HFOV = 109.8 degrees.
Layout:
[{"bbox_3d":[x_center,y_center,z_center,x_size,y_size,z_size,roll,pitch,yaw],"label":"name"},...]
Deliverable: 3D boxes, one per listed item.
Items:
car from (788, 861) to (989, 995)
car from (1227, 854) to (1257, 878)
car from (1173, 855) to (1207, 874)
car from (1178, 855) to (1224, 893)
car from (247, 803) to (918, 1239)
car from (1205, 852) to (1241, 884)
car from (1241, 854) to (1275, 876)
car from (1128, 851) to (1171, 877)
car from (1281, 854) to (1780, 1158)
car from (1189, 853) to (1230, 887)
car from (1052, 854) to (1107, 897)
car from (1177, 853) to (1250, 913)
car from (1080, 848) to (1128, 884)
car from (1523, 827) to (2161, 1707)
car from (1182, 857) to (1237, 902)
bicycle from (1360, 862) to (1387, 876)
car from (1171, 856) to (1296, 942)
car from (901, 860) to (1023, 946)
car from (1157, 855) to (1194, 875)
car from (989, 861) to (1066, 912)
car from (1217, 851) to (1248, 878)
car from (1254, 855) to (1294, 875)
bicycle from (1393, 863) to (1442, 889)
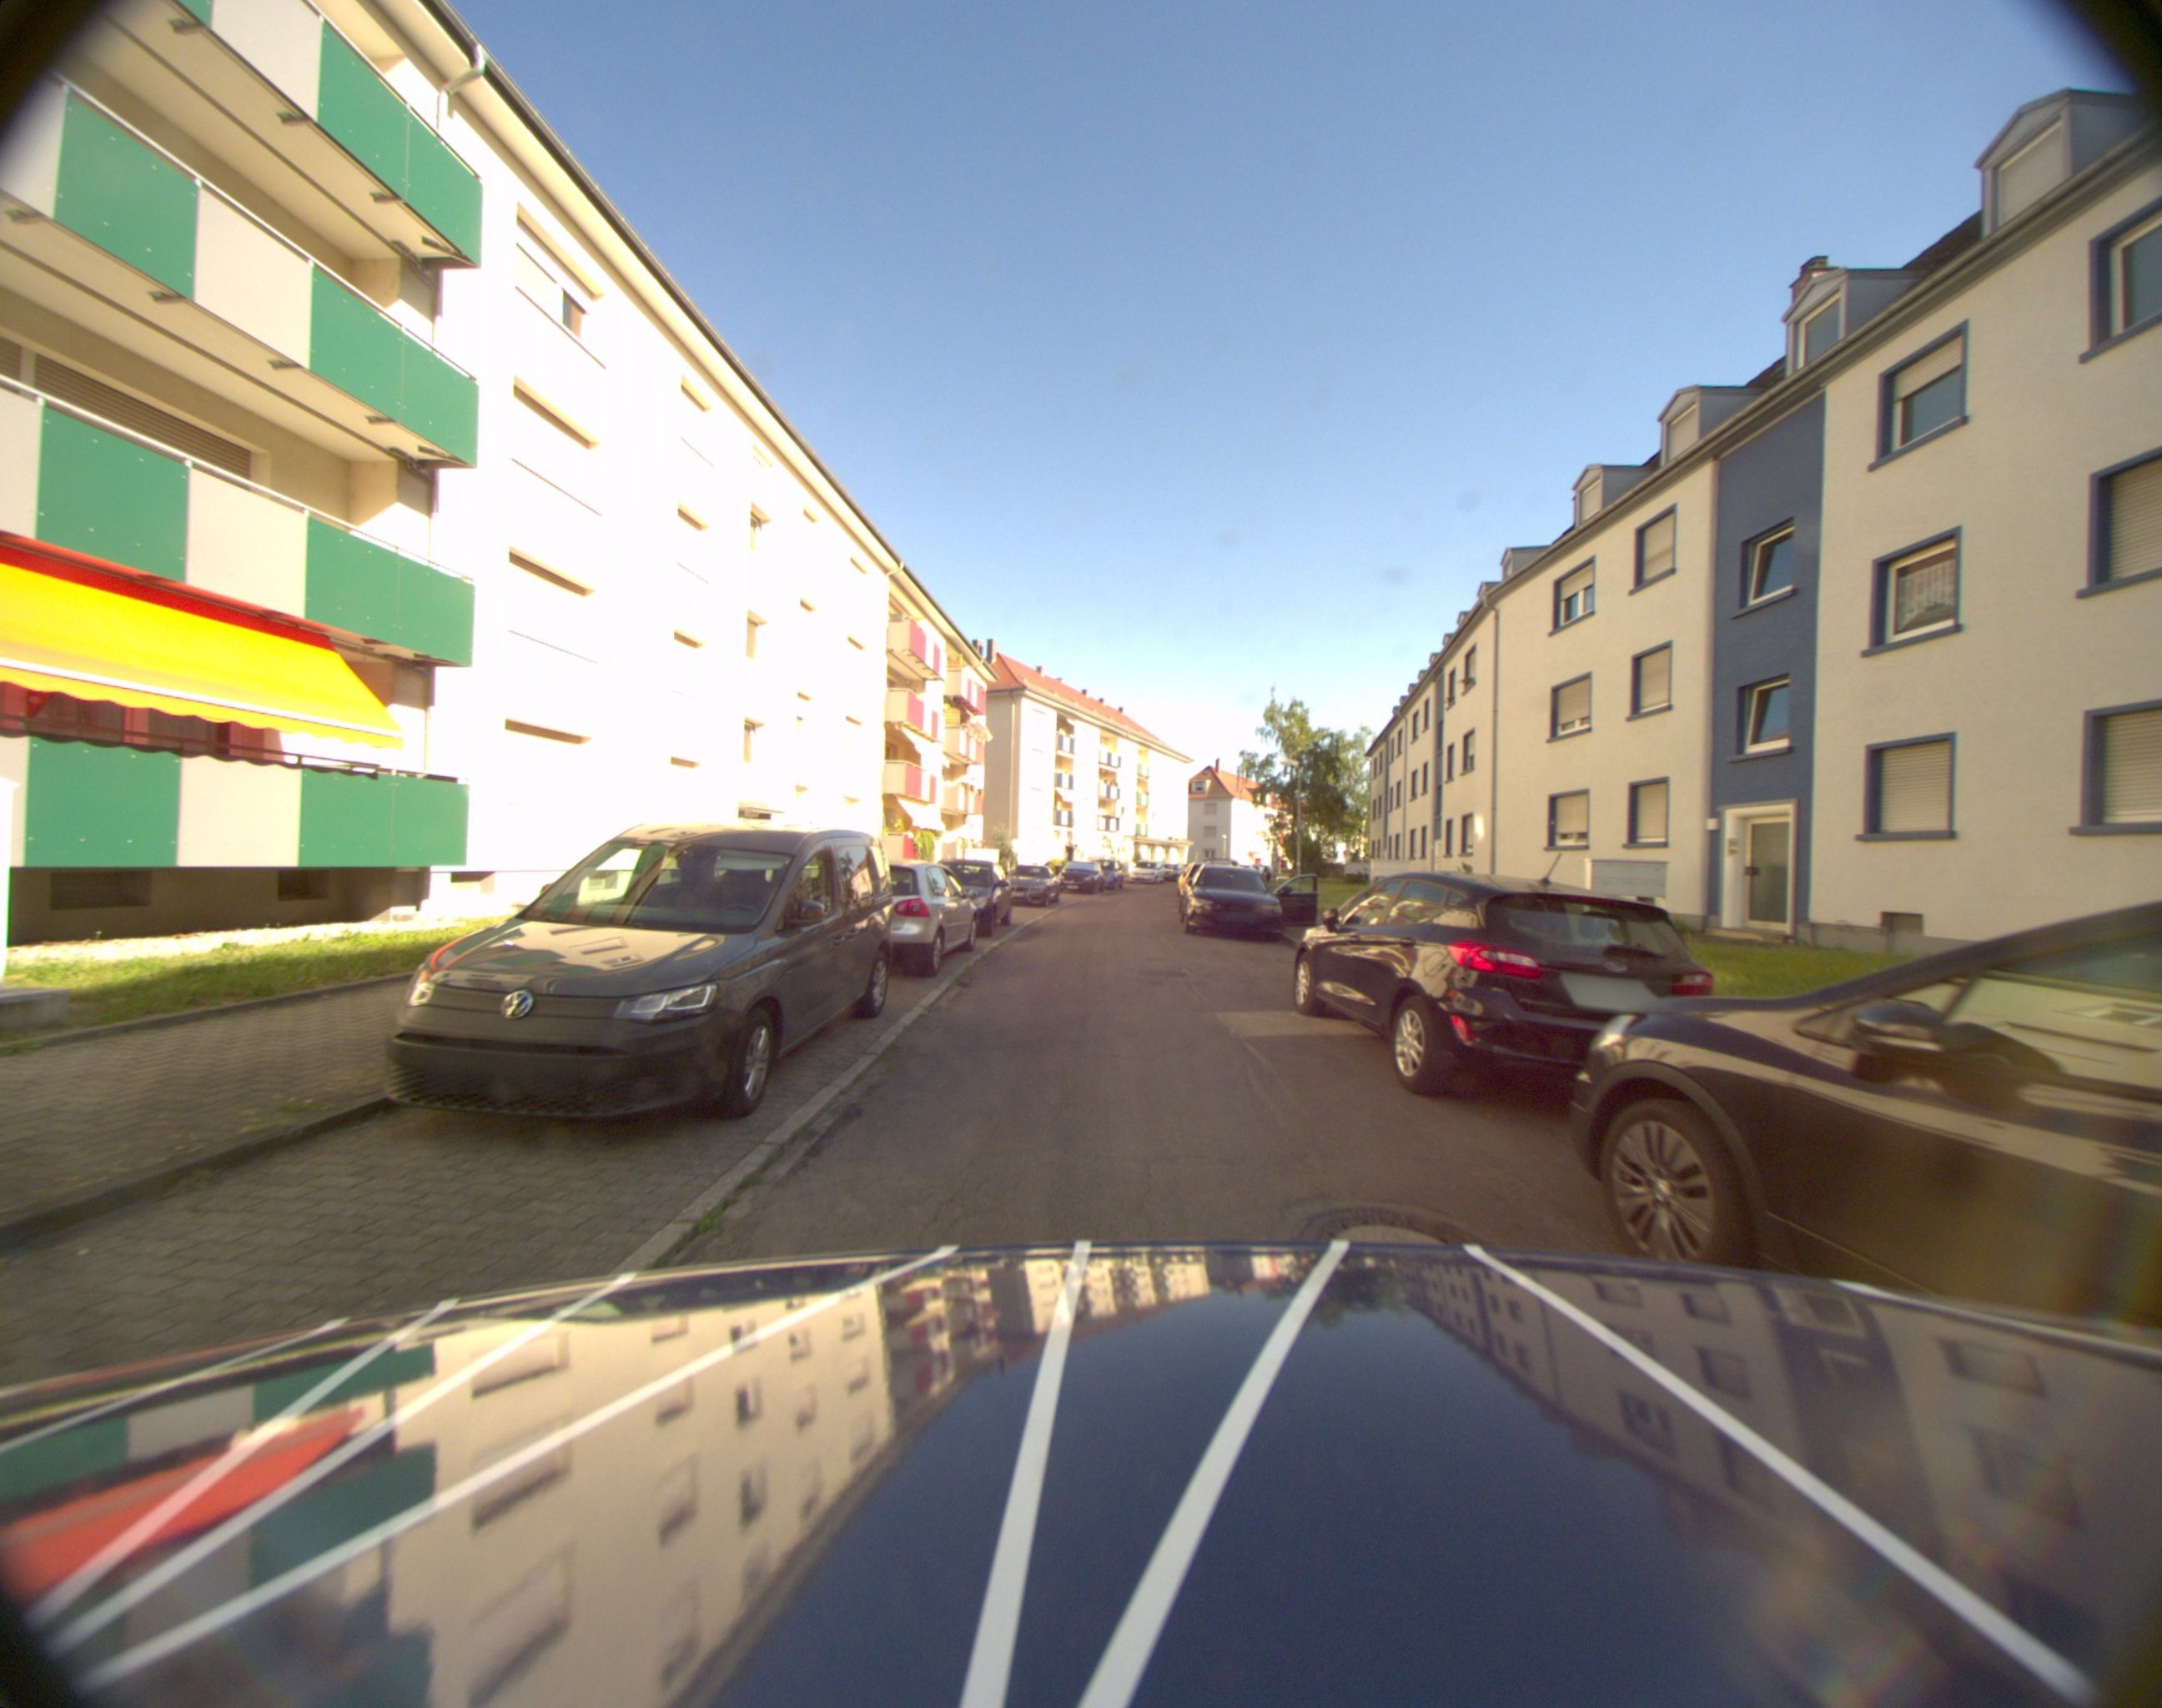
[{"bbox_3d":[-2.519,0.890,10.908,1.643,1.450,3.861,3,0,3],"label":"car"},{"bbox_3d":[11.704,0.880,55.153,1.639,1.566,3.654,4,0,18],"label":"car"},{"bbox_3d":[9.290,0.898,64.508,1.754,1.420,4.098,3,0,23],"label":"car"},{"bbox_3d":[5.233,0.826,32.811,1.717,1.403,3.986,4,0,11],"label":"car"},{"bbox_3d":[-2.724,0.729,5.790,1.763,1.829,4.919,3,0,1],"label":"car"},{"bbox_3d":[8.285,0.808,44.156,1.639,1.693,3.653,4,1,15],"label":"car"},{"bbox_3d":[13.965,0.866,59.778,1.638,1.566,3.656,4,1,28],"label":"car"},{"bbox_3d":[4.804,0.669,52.646,1.754,1.625,4.413,3,0,21],"label":"car"},{"bbox_3d":[2.906,0.819,5.949,1.648,1.510,3.702,5,0,1],"label":"car"},{"bbox_3d":[6.609,0.774,38.708,1.639,1.539,3.653,4,0,14],"label":"car"},{"bbox_3d":[-0.007,0.947,34.656,1.580,1.752,4.243,3,0,12],"label":"car"},{"bbox_3d":[3.850,0.791,22.568,1.745,1.507,3.984,4,0,6],"label":"car"},{"bbox_3d":[1.285,0.637,40.422,1.755,1.724,4.004,-3,-1,13],"label":"car"},{"bbox_3d":[2.811,0.811,1.206,1.677,1.582,4.164,5,0,0],"label":"car"},{"bbox_3d":[4.655,0.878,27.950,1.718,1.403,3.985,4,0,7],"label":"car"},{"bbox_3d":[17.457,0.908,45.373,1.457,0.760,0.310,-2,1,15],"label":"bicycle"},{"bbox_3d":[3.111,0.855,16.466,1.904,1.450,4.396,4,0,2],"label":"car"},{"bbox_3d":[-2.335,0.914,15.817,1.667,1.440,3.861,3,0,3],"label":"car"},{"bbox_3d":[7.334,0.857,58.885,1.754,1.420,4.474,3,0,21],"label":"car"},{"bbox_3d":[-1.653,0.988,24.782,1.676,1.411,3.862,3,0,8],"label":"car"},{"bbox_3d":[10.013,0.676,50.103,1.639,1.631,3.653,4,0,14],"label":"car"},{"bbox_3d":[16.325,0.956,64.130,1.571,1.417,3.988,5,1,41],"label":"car"},{"bbox_3d":[13.684,0.905,30.938,1.733,0.984,0.462,-2,1,15],"label":"bicycle"}]
